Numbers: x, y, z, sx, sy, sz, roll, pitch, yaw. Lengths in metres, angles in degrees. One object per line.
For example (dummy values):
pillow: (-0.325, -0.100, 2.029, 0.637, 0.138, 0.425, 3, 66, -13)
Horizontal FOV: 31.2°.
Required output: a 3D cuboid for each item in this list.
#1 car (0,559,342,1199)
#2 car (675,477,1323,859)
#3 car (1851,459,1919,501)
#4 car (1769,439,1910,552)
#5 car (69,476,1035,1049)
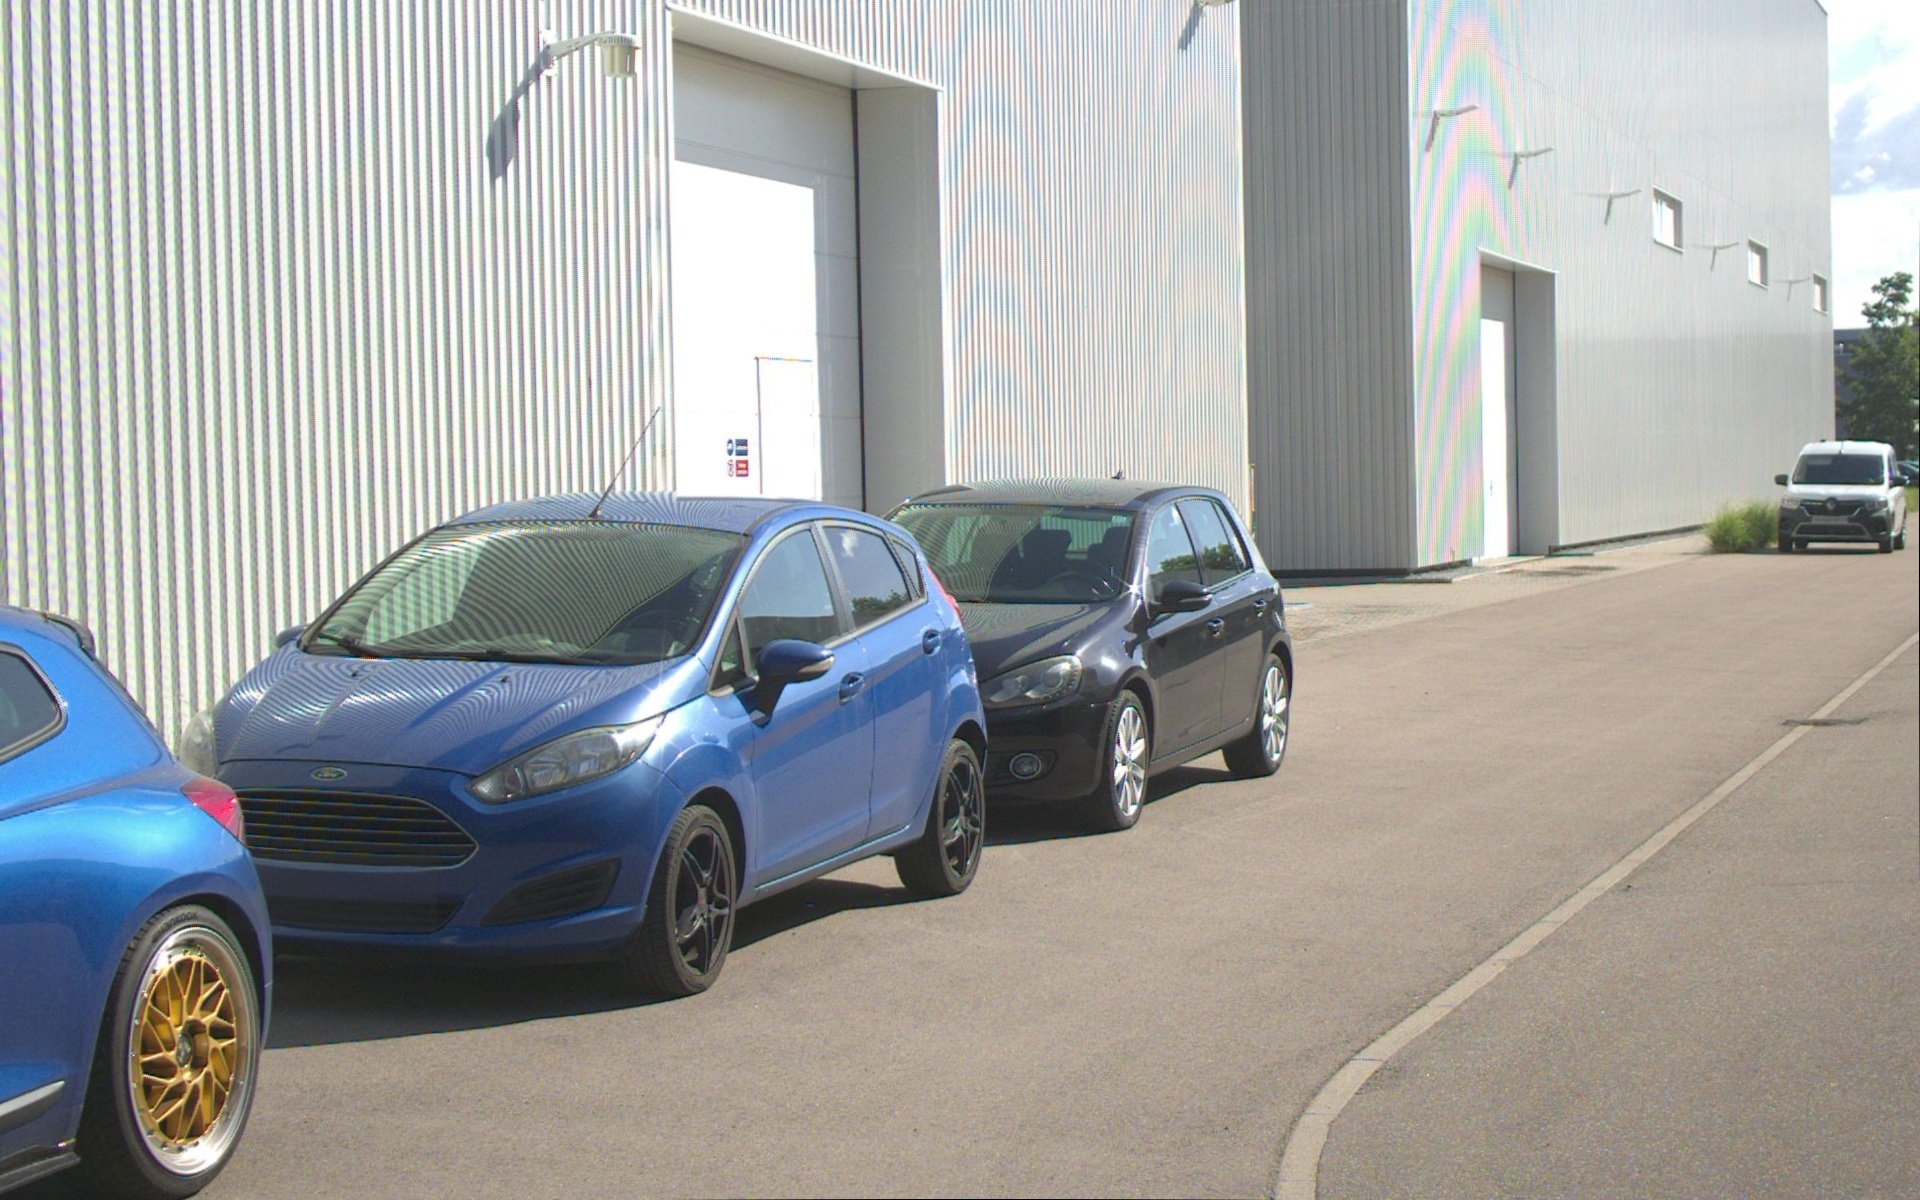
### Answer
car: (-2.899, 0.662, 6.244, 1.775, 1.356, 4.050, 0, 2, 18)
car: (0.344, 0.191, 16.166, 1.756, 1.495, 4.290, 1, 3, 19)
car: (37.229, -4.707, 135.500, 3.990, 1.592, 1.740, 1, 1, 18)
car: (14.476, -1.757, 56.454, 1.820, 1.781, 4.401, 1, 3, 20)
car: (-1.132, 0.363, 11.503, 1.632, 1.495, 4.091, 2, 3, 18)
